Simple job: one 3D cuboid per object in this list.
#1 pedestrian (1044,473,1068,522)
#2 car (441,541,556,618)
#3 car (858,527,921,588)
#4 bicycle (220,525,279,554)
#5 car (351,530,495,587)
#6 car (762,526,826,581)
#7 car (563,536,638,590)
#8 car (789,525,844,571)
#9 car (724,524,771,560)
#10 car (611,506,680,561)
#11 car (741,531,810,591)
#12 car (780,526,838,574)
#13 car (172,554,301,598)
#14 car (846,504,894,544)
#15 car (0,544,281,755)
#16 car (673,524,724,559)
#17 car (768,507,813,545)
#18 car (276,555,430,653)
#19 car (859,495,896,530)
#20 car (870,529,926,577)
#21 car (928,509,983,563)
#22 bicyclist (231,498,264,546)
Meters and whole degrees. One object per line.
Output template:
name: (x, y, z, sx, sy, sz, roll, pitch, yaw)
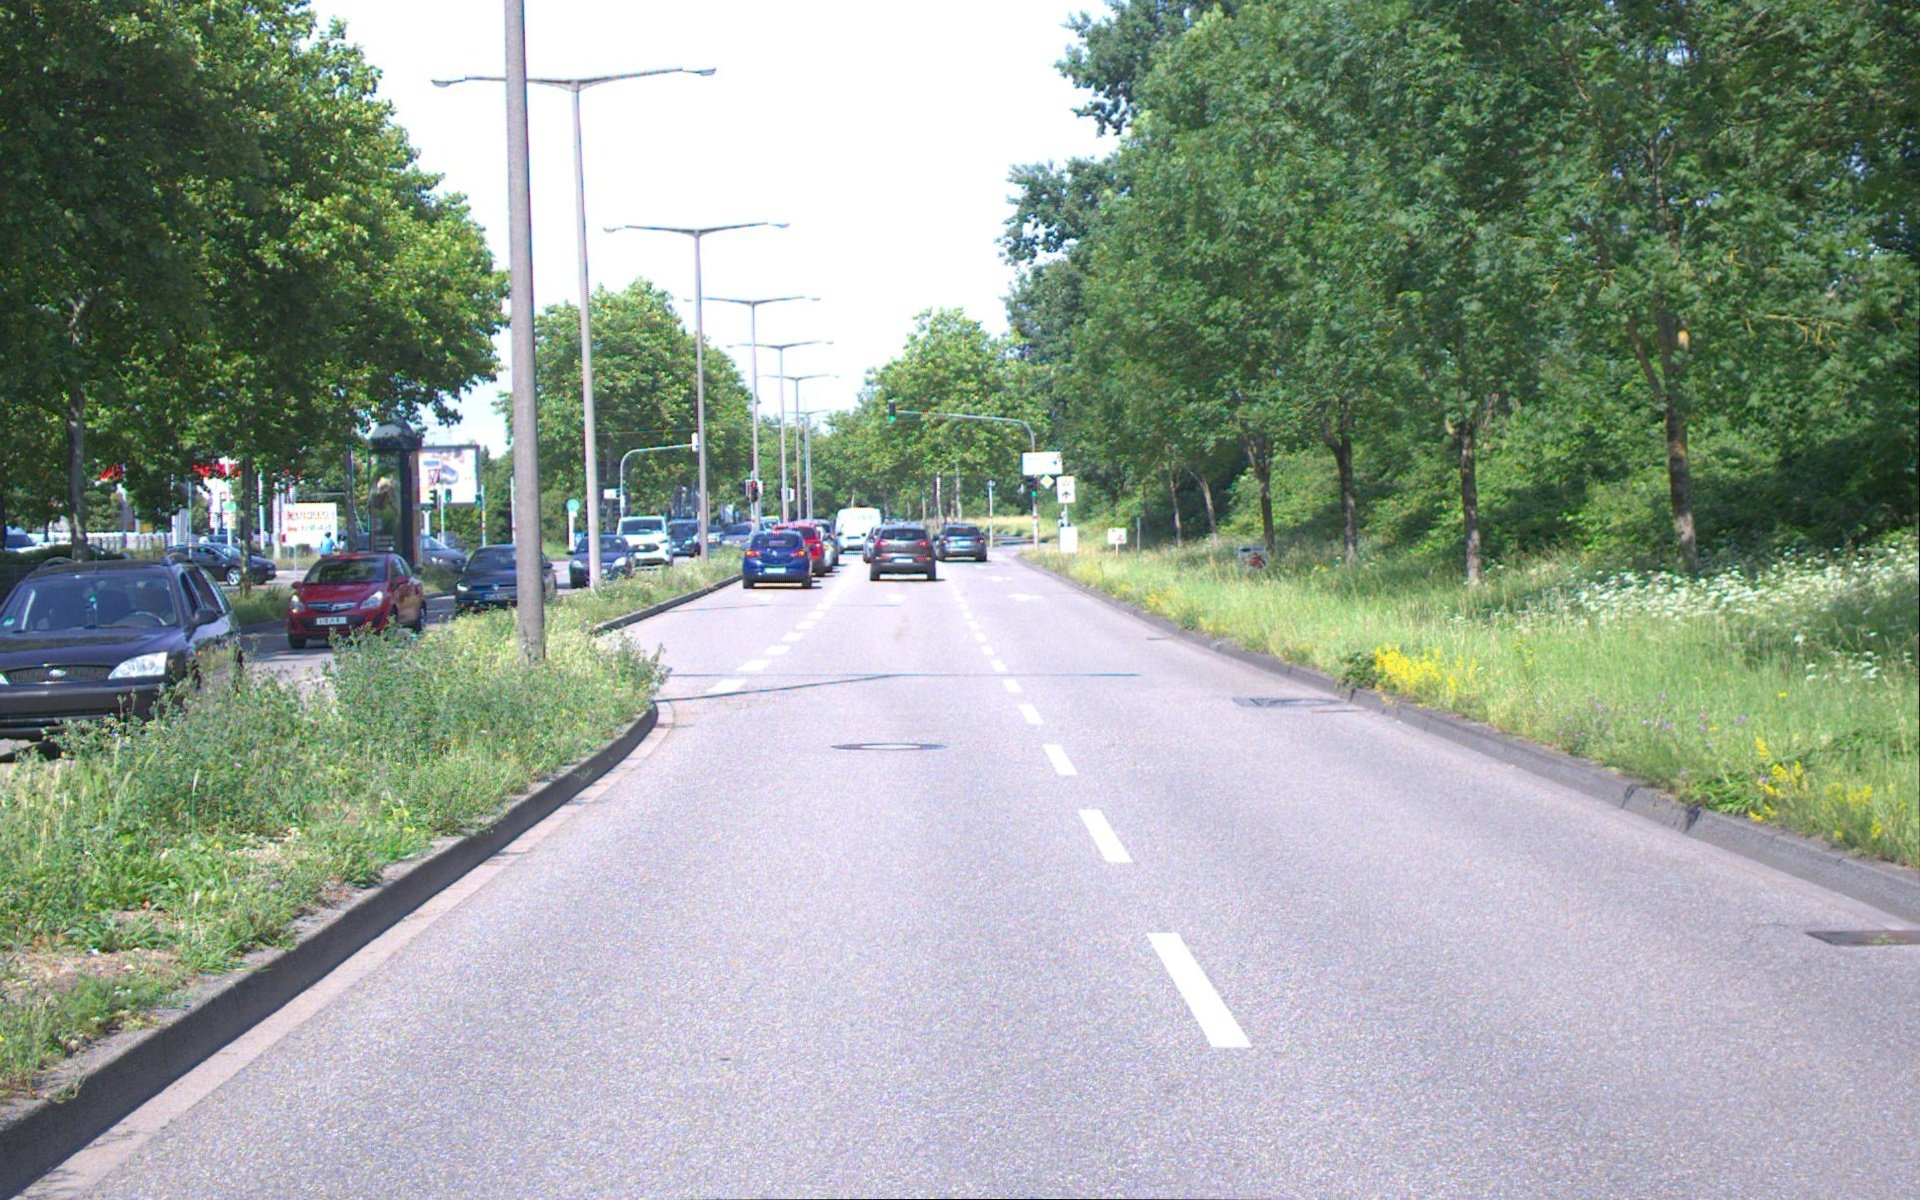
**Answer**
pedestrian: (3.822, -4.101, 136.955, 0.837, 1.926, 0.772, -1, 3, -4)
car: (-9.448, -0.450, 70.658, 1.839, 1.473, 4.166, -2, 1, -1)
car: (-1.976, -1.222, 97.678, 1.736, 1.530, 4.001, -1, 4, -1)
bicycle: (-25.941, -2.218, 125.525, 1.948, 0.979, 0.789, -3, 4, -36)
car: (-17.528, -1.352, 112.245, 4.392, 1.744, 1.866, -1, 1, 29)
car: (-4.957, -1.406, 103.058, 1.782, 1.587, 4.594, 0, 1, -1)
car: (-10.258, -1.075, 98.405, 1.768, 1.464, 4.284, -2, 1, -1)
car: (-5.114, -1.875, 123.013, 1.881, 1.612, 4.213, -1, 1, -1)
car: (-10.960, -2.997, 177.513, 1.993, 1.769, 4.000, -1, 1, 2)
car: (-11.247, -2.388, 123.199, 2.116, 1.877, 5.420, -2, 1, -2)
car: (-4.702, -1.019, 87.949, 1.626, 1.478, 4.049, 1, 1, -1)
car: (-4.818, -1.617, 110.199, 1.766, 1.474, 4.136, 0, 1, -1)
car: (-24.402, -0.813, 115.975, 3.992, 1.383, 1.763, 0, 3, 26)
car: (-3.919, -3.342, 150.980, 1.993, 1.702, 4.263, -1, 1, 0)
car: (-6.615, 0.325, 27.013, 1.772, 1.462, 4.672, -2, 1, -2)
car: (-12.024, -2.704, 158.213, 1.993, 1.525, 4.683, -2, 1, -1)
car: (-8.406, -3.673, 170.780, 1.993, 1.853, 4.000, -1, 1, 1)
car: (-9.902, 0.035, 56.317, 1.763, 1.457, 4.000, -2, 1, 0)
car: (-4.883, -5.184, 202.916, 1.993, 2.007, 4.001, -1, 1, -4)
car: (-2.306, -1.772, 128.457, 1.993, 1.738, 4.266, -1, 1, -1)
car: (-0.180, -2.423, 129.709, 2.018, 1.831, 4.001, -1, 4, -1)
bicyclist: (-26.011, -2.851, 125.436, 0.897, 1.709, 0.783, -3, 4, -36)
